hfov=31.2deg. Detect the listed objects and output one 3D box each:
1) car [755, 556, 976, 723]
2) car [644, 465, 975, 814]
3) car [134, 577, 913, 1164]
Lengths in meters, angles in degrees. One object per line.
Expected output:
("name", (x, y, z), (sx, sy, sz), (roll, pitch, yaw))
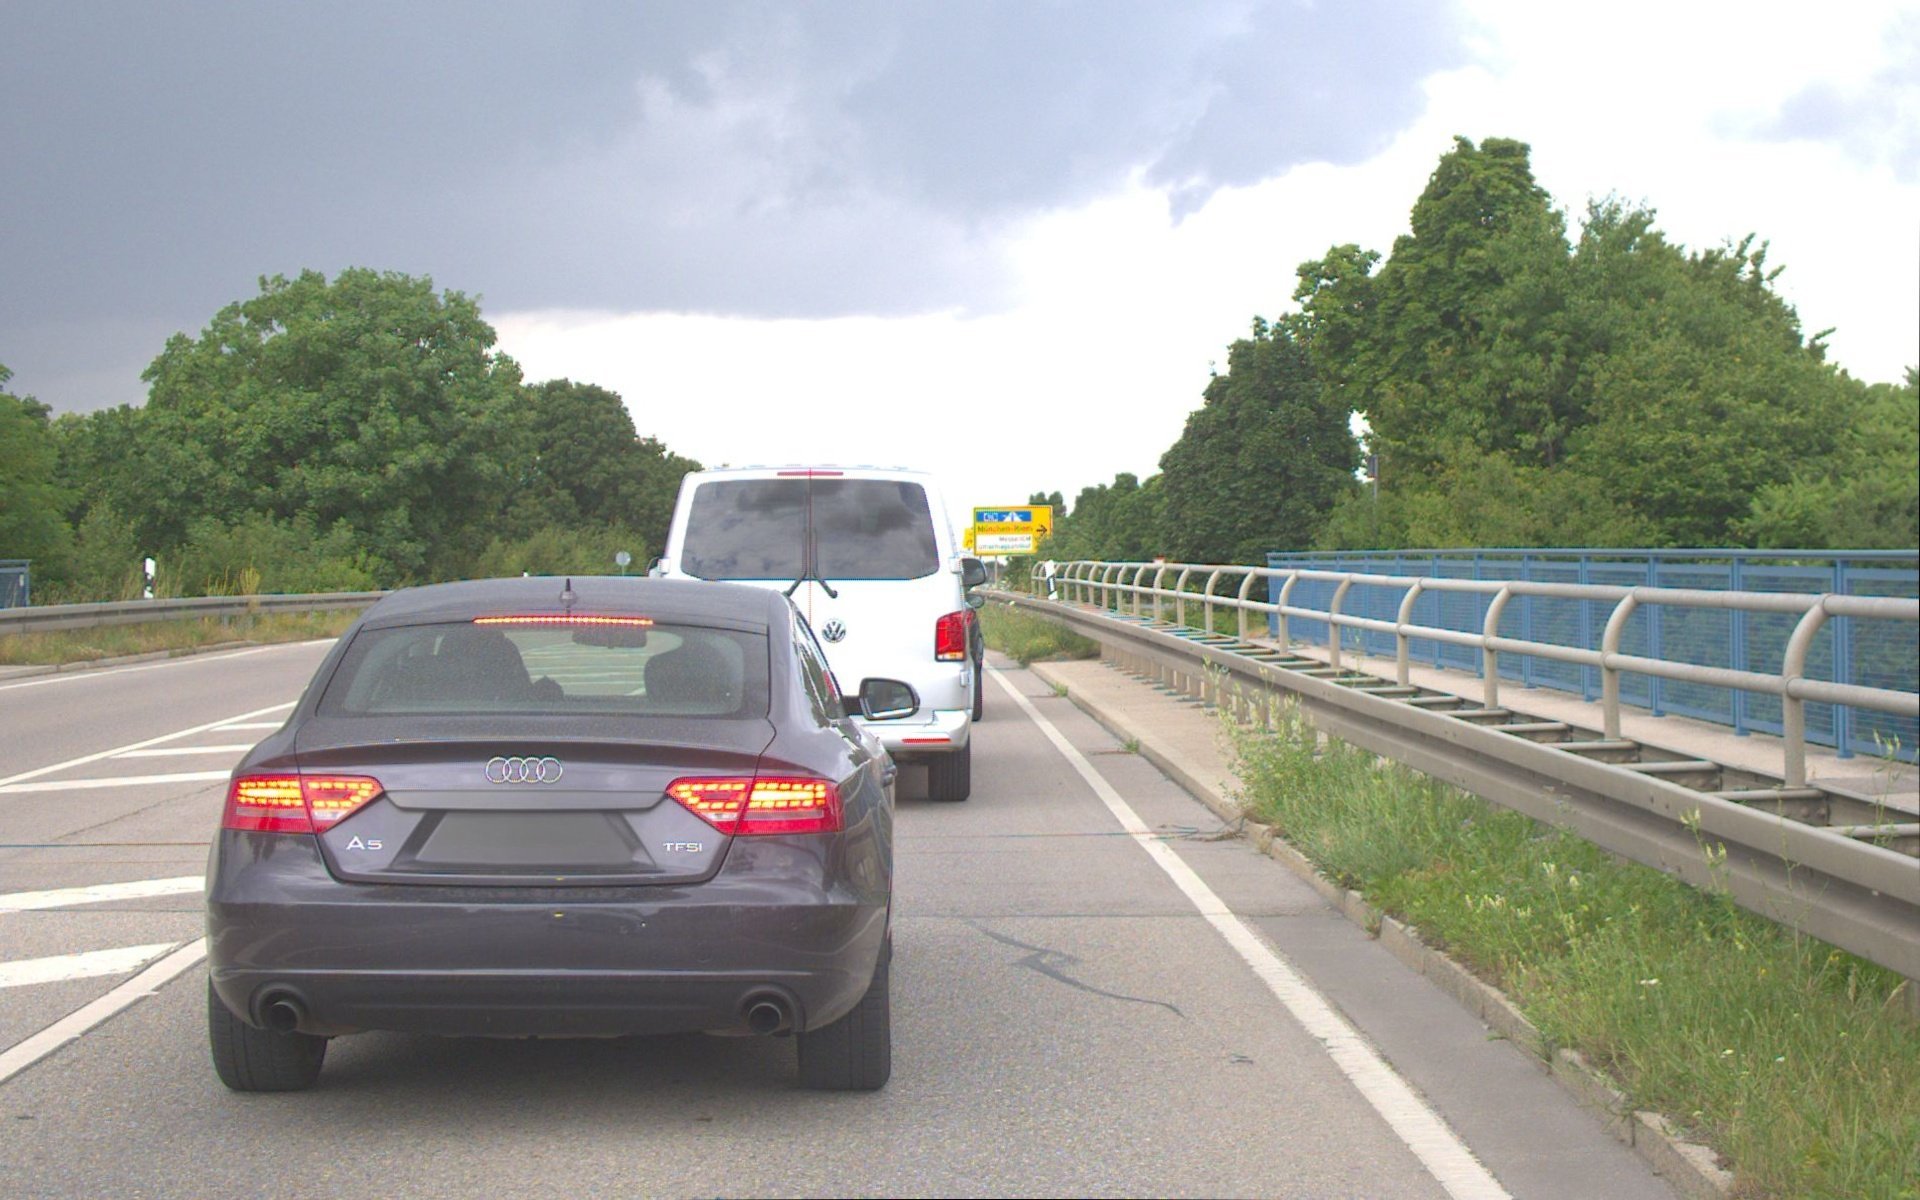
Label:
("car", (-0.782, 0.297, 30.362), (1.821, 1.376, 4.072), (0, 1, 0))
("car", (-0.878, 0.195, 21.142), (1.828, 1.929, 4.000), (0, 1, -1))
("car", (-1.089, 0.644, 10.383), (1.821, 1.376, 4.072), (1, 1, 0))
